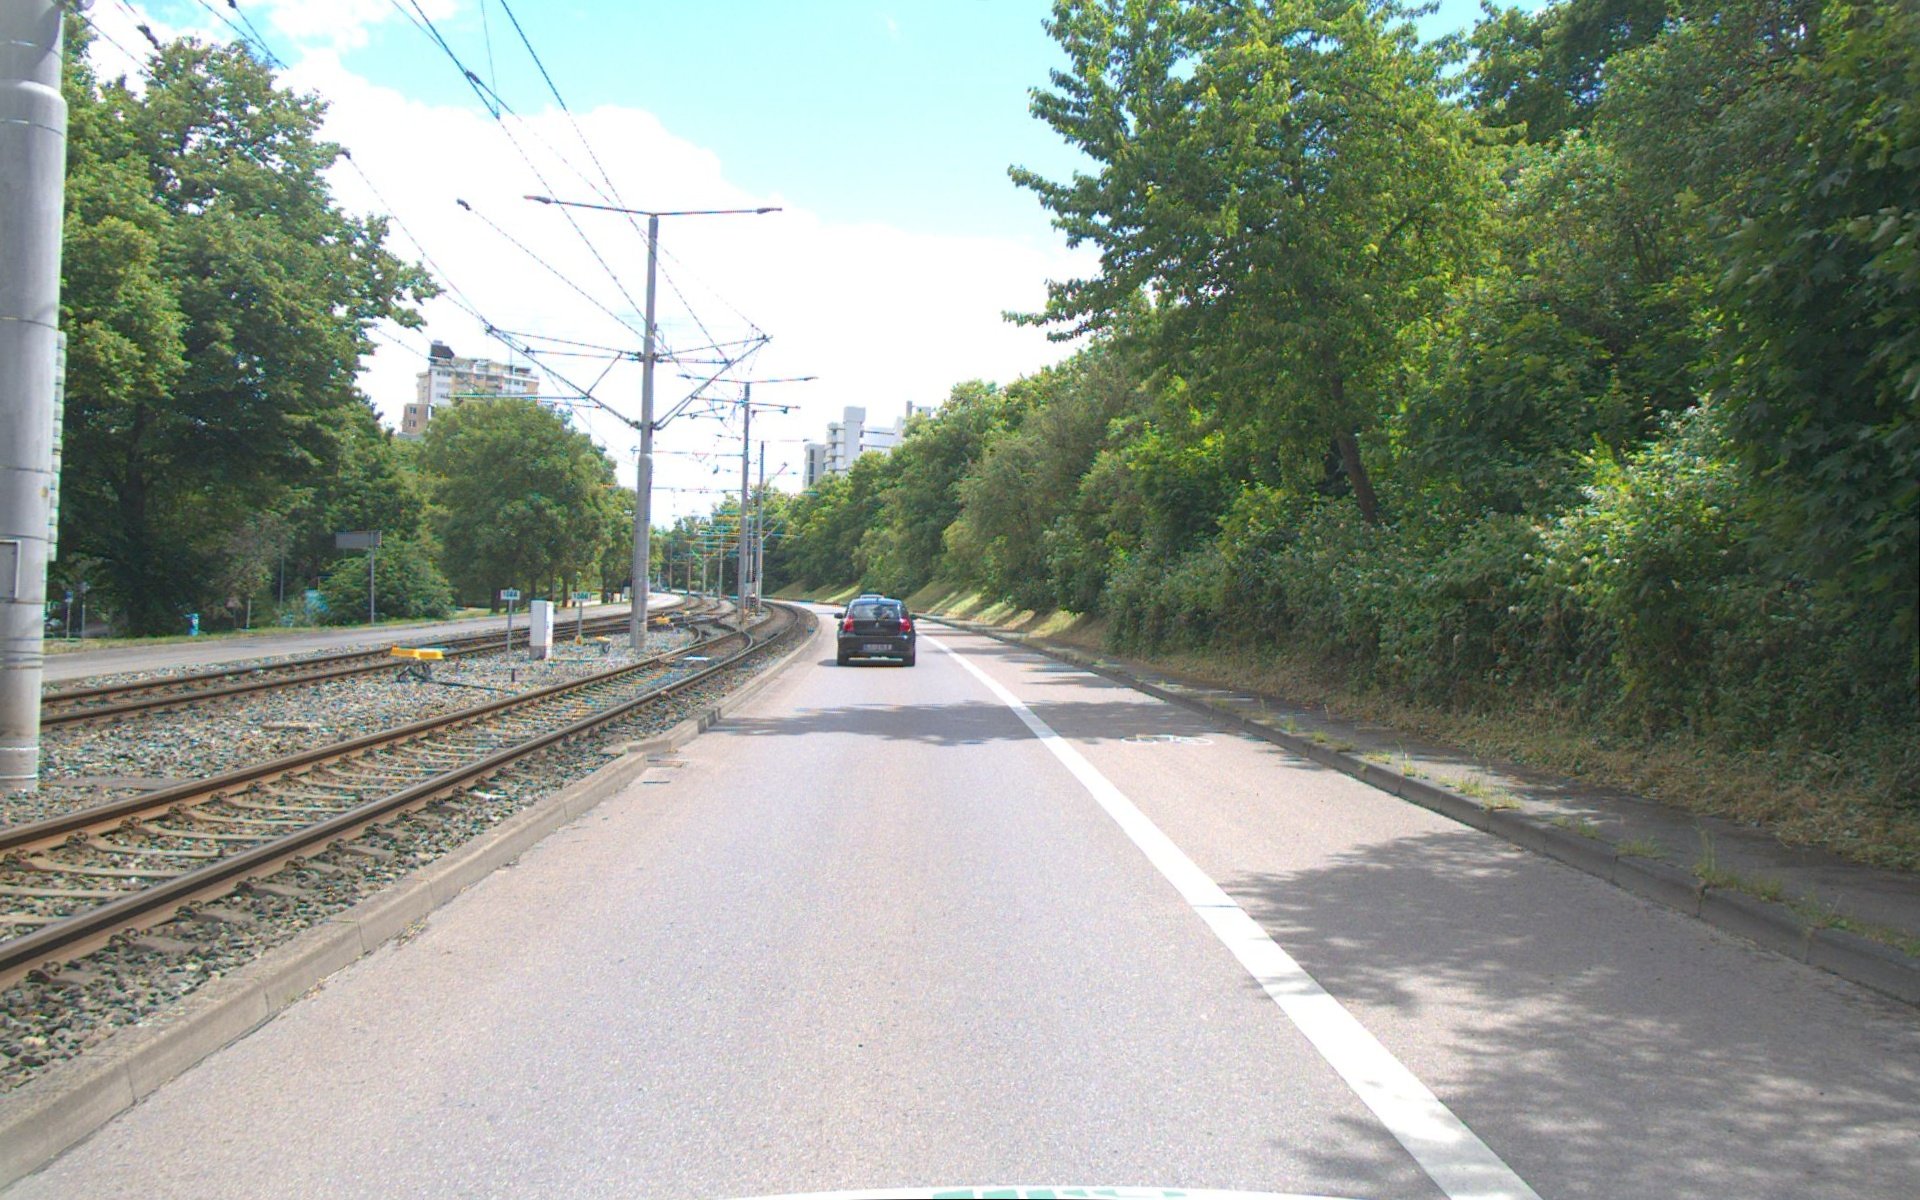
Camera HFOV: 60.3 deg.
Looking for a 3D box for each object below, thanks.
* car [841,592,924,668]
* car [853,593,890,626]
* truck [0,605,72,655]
[{"bbox_3d":[-1.681,0.653,36.590,1.674,1.486,3.958,3,-1,-2],"label":"car"},{"bbox_3d":[-4.200,0.444,78.464,1.593,1.468,3.418,3,-1,-5],"label":"car"},{"bbox_3d":[-55.849,1.733,94.203,8.911,2.742,2.613,-1,0,-4],"label":"truck"}]
